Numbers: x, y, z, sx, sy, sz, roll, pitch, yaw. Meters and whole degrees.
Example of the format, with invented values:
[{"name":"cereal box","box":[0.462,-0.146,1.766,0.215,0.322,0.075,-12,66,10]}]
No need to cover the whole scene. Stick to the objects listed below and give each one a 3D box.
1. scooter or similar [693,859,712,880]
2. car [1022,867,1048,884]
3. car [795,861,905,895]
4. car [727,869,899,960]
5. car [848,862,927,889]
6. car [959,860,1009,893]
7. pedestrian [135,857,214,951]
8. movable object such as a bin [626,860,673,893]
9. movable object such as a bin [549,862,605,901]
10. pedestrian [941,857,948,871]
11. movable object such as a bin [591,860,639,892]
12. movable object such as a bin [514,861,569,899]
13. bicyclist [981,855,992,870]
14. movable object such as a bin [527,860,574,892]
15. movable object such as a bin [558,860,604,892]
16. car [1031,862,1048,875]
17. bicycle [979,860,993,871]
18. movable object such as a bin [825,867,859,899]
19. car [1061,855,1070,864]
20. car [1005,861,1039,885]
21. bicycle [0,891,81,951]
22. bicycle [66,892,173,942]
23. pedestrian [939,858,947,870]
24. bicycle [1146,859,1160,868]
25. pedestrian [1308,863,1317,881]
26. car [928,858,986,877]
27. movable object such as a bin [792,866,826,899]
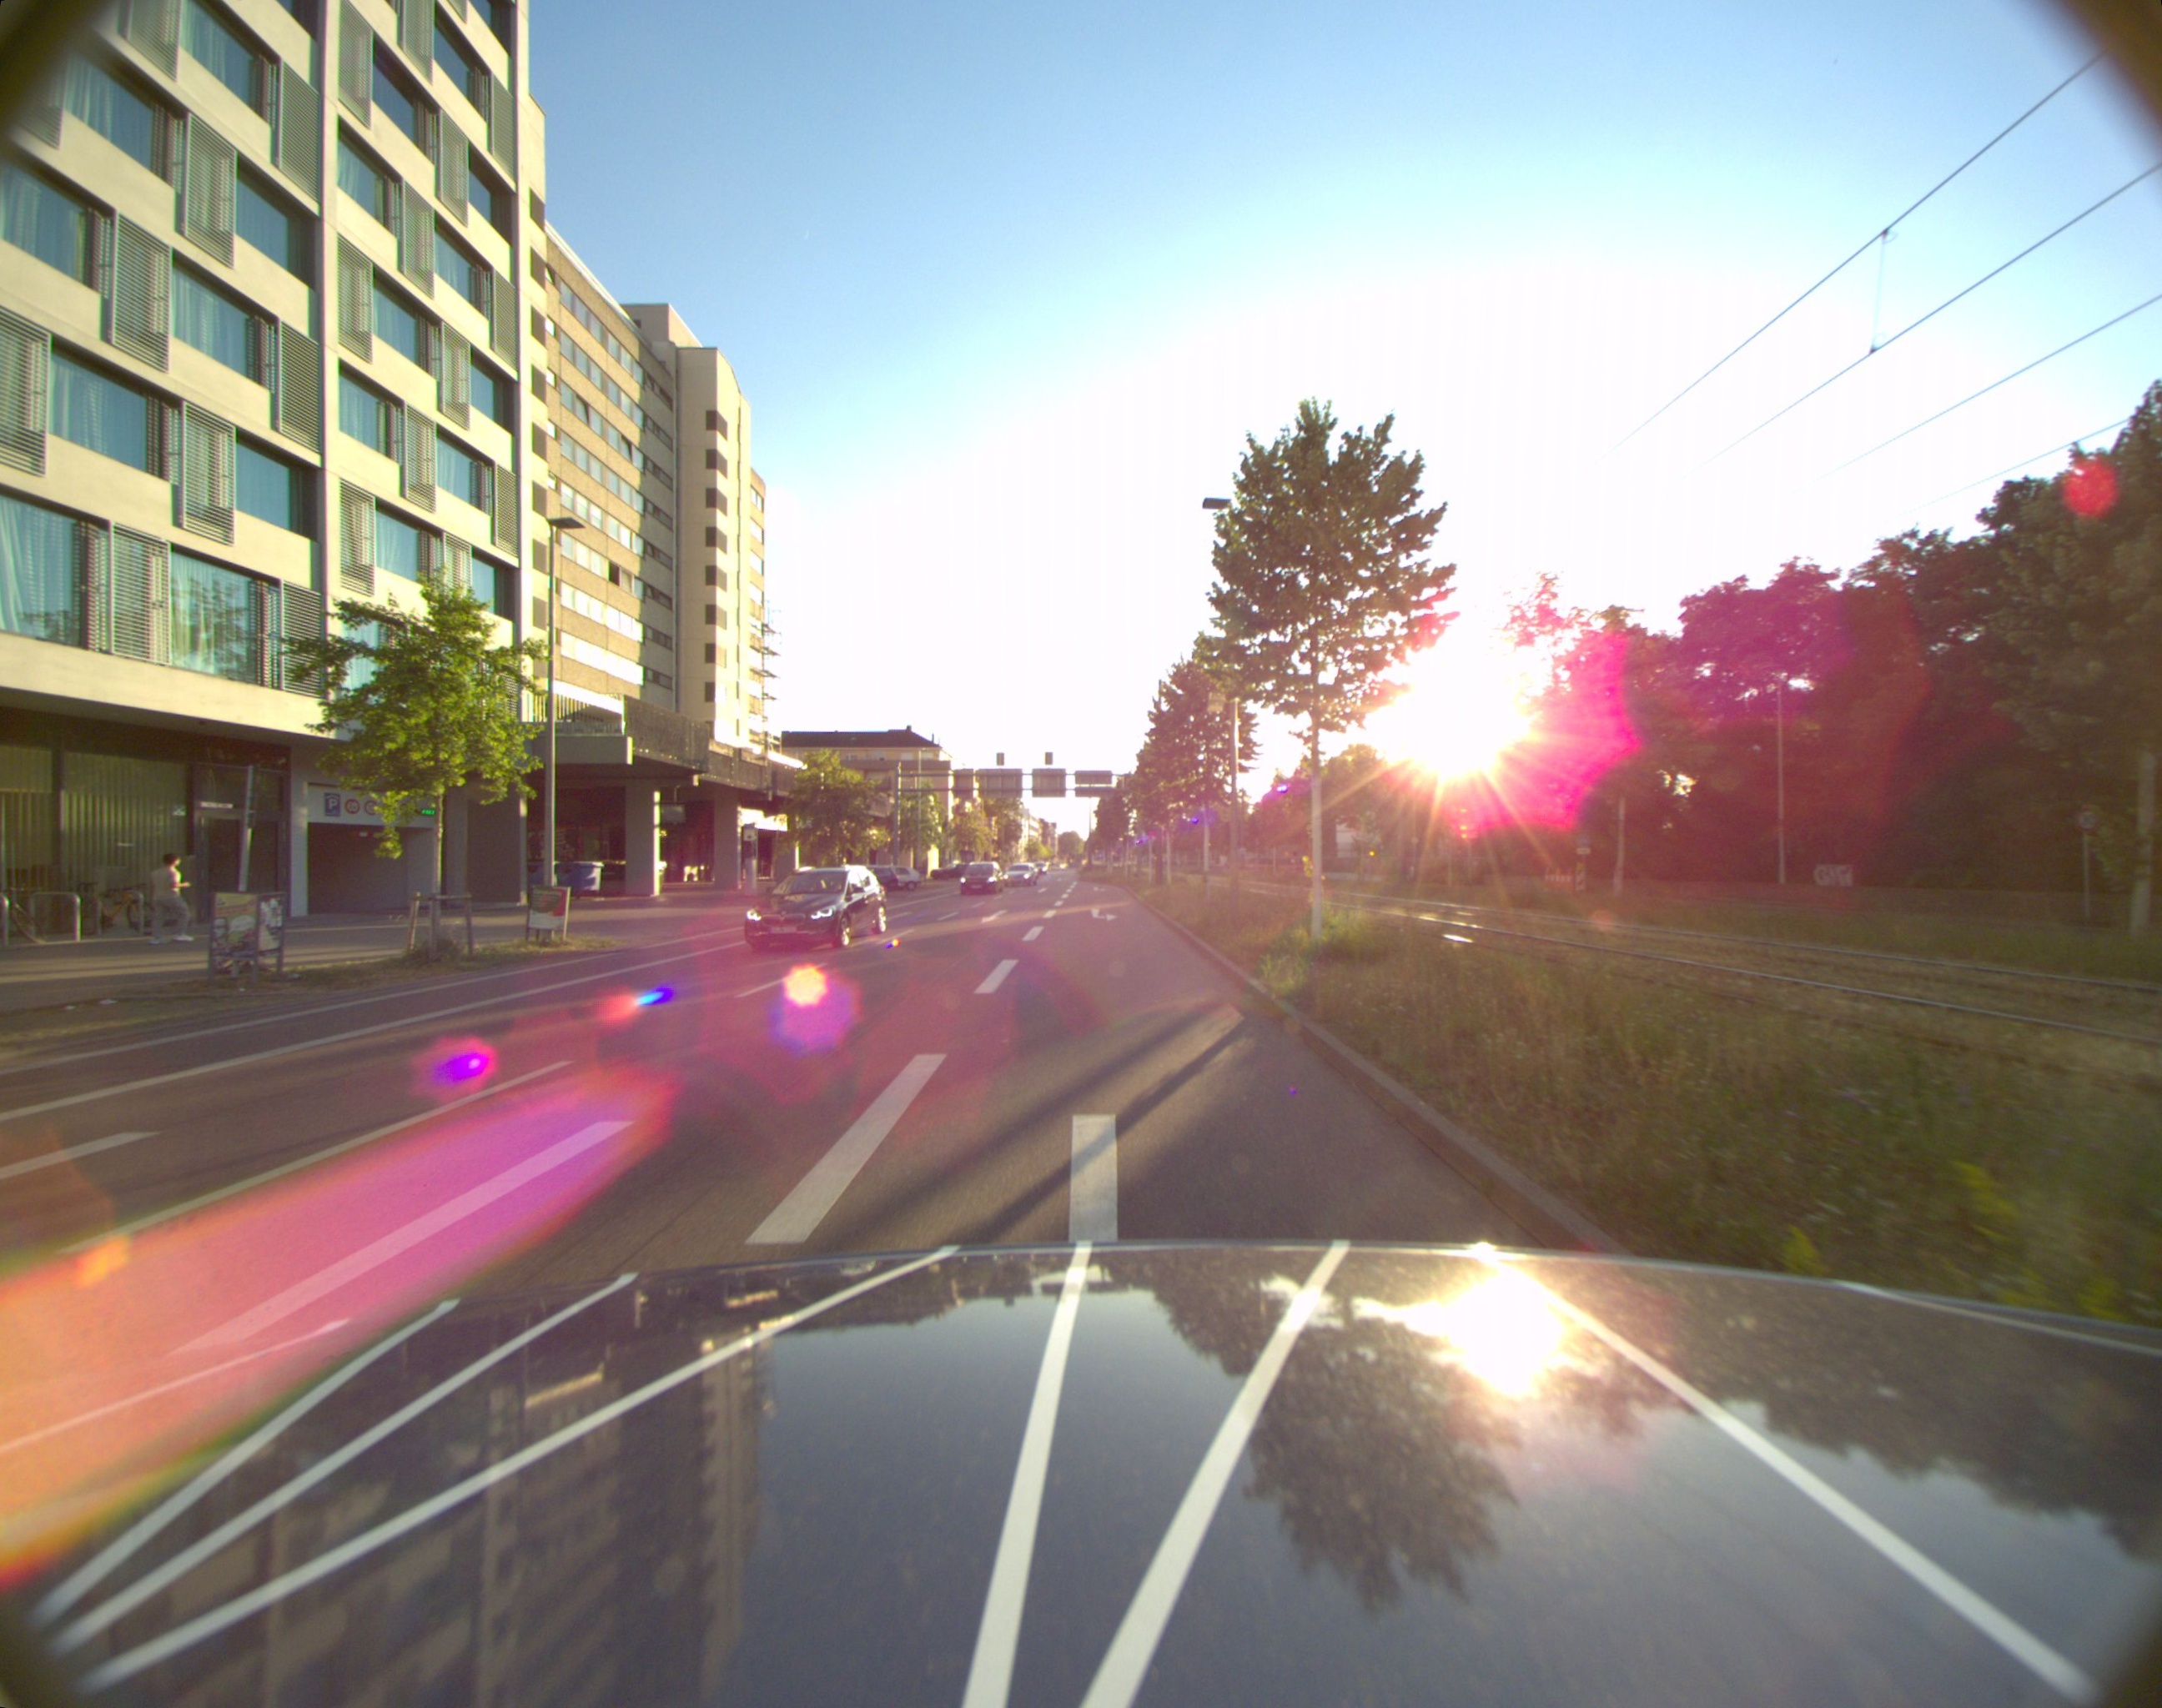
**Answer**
[{"name":"scooter or similar","box":[-21.811,0.888,43.845,0.402,1.154,1.829,-2,0,-9]},{"name":"car","box":[-4.216,1.956,70.737,1.915,1.387,4.277,-2,0,3]},{"name":"car","box":[-11.234,1.192,37.122,4.679,1.499,1.934,2,0,-39]},{"name":"car","box":[-5.401,1.135,16.074,1.825,1.510,4.792,-2,0,1]},{"name":"car","box":[-11.091,1.250,43.696,3.999,1.408,1.746,2,0,-37]},{"name":"car","box":[-5.010,1.137,39.755,1.827,1.589,4.368,-2,0,3]},{"name":"pedestrian","box":[-16.111,0.868,13.519,0.577,1.609,0.643,2,0,-2]},{"name":"movable object such as a bin","box":[-17.926,0.930,31.622,1.184,1.315,1.266,3,0,-1]},{"name":"movable object such as a bin","box":[-18.019,0.958,27.176,1.107,1.322,1.283,2,0,0]},{"name":"pedestrian","box":[-18.400,1.335,102.423,0.840,1.849,0.544,0,1,1]},{"name":"movable object such as a bin","box":[-19.300,0.894,31.528,1.184,1.291,1.304,0,0,-1]},{"name":"movable object such as a bin","box":[-19.170,0.904,27.022,1.076,1.322,1.202,1,0,0]},{"name":"bicyclist","box":[-10.209,0.908,81.997,0.821,1.682,0.959,1,0,-27]},{"name":"movable object such as a bin","box":[-21.930,0.893,31.425,1.184,1.305,1.088,0,0,-1]},{"name":"movable object such as a bin","box":[-20.675,0.897,31.452,1.184,1.305,1.124,0,0,-1]},{"name":"car","box":[-4.809,1.729,89.030,1.863,1.387,4.276,-2,0,-3]},{"name":"bicycle","box":[-10.246,1.257,82.060,0.821,1.166,2.143,1,0,-27]},{"name":"movable object such as a bin","box":[-10.139,1.220,32.296,1.088,1.294,1.360,2,0,-6]},{"name":"car","box":[-3.514,1.192,173.199,1.727,1.909,4.293,-2,0,-3]},{"name":"car","box":[-3.859,1.203,50.218,1.832,1.455,4.303,-2,0,0]},{"name":"bicycle","box":[-18.401,1.113,12.825,2.021,0.952,0.620,1,0,-5]},{"name":"bicycle","box":[-18.027,1.173,14.263,1.425,0.886,0.457,0,0,0]},{"name":"pedestrian","box":[-18.726,1.361,103.107,0.821,1.606,0.766,0,1,2]},{"name":"bicycle","box":[10.503,1.392,110.213,1.895,1.126,0.717,-2,0,14]},{"name":"pedestrian","box":[20.557,1.597,67.523,0.670,1.597,0.679,-2,-4,15]},{"name":"car","box":[-10.625,1.171,65.270,4.617,1.444,1.808,2,-1,-40]},{"name":"movable object such as a bin","box":[-11.493,1.203,32.125,1.017,1.339,1.160,3,0,-4]}]
